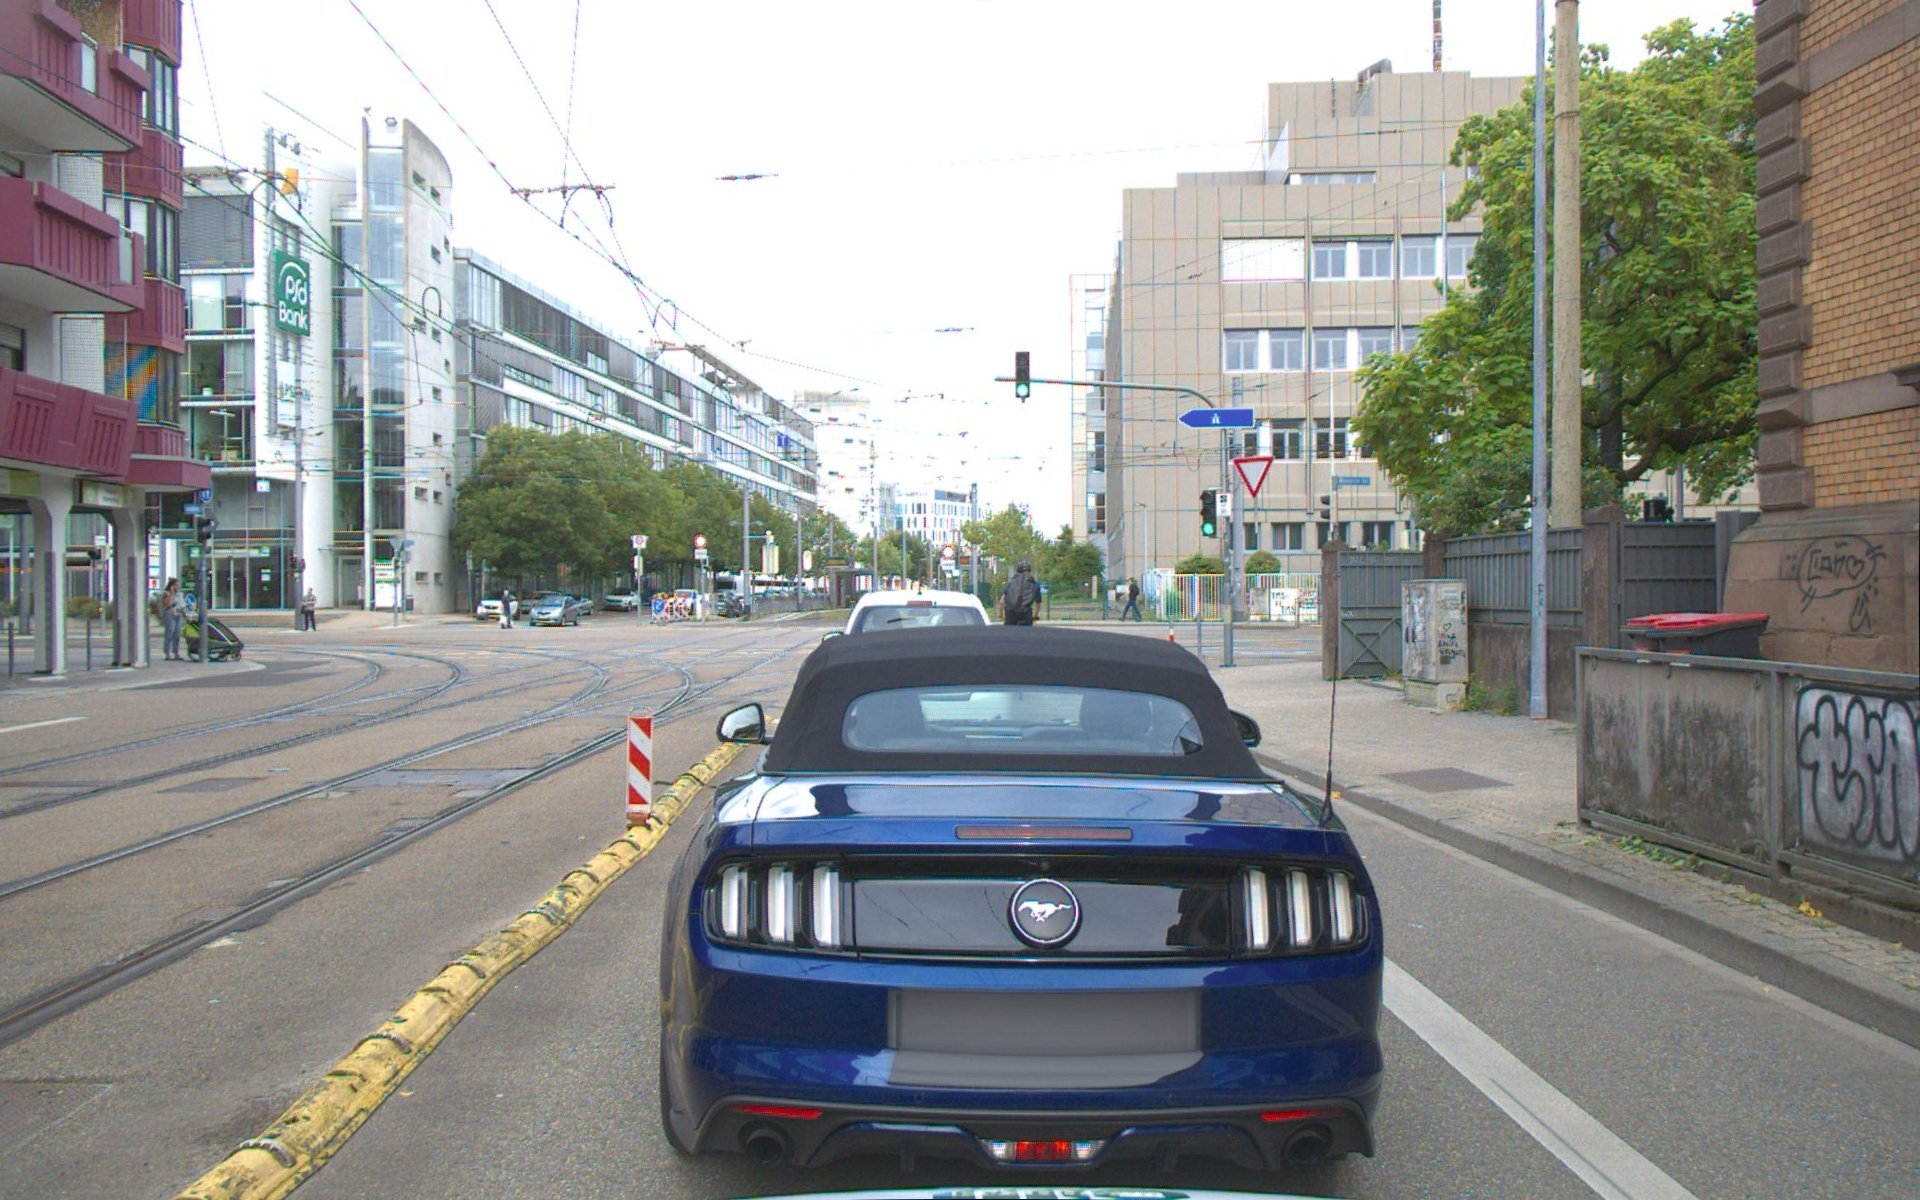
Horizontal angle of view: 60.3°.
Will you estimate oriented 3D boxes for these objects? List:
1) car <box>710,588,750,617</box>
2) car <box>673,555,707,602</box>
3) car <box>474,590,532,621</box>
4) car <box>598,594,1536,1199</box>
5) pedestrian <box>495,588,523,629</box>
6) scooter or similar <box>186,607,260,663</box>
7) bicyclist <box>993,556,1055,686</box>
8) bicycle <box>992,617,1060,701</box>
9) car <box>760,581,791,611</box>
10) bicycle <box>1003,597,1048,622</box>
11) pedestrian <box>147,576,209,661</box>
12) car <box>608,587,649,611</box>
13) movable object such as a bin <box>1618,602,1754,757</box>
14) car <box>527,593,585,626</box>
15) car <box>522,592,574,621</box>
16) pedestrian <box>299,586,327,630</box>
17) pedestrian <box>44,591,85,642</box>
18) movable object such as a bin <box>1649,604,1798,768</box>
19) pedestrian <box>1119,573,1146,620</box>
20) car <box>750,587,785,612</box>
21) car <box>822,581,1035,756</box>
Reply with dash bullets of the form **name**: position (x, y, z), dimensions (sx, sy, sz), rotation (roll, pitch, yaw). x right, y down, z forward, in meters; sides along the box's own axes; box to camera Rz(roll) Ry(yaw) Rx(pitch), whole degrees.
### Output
- **car**: position (-13.467, 0.139, 97.049), dimensions (1.841, 1.657, 4.086), rotation (-1, 0, -1)
- **car**: position (-22.025, -1.722, 135.031), dimensions (1.945, 3.700, 4.513), rotation (1, 0, 0)
- **car**: position (-24.981, 0.290, 90.500), dimensions (1.791, 1.584, 4.218), rotation (1, 1, 3)
- **car**: position (0.195, 0.719, 5.406), dimensions (1.838, 1.428, 4.282), rotation (1, 0, -1)
- **pedestrian**: position (-20.908, 0.390, 76.611), dimensions (0.968, 1.888, 0.902), rotation (-1, 0, 6)
- **scooter or similar**: position (-15.568, 0.728, 34.963), dimensions (1.172, 1.148, 0.946), rotation (0, 0, -3)
- **bicyclist**: position (0.915, 0.293, 23.934), dimensions (0.780, 1.816, 1.232), rotation (-1, 0, -3)
- **bicycle**: position (0.923, 0.820, 23.709), dimensions (0.784, 1.105, 2.130), rotation (-1, 0, -3)
- **car**: position (-12.909, -0.273, 115.760), dimensions (1.749, 2.022, 4.120), rotation (-1, 0, -1)
- **bicycle**: position (2.883, 0.423, 72.765), dimensions (0.629, 0.998, 2.125), rotation (-1, -2, -42)
- **pedestrian**: position (-16.477, 0.384, 34.873), dimensions (0.929, 1.774, 0.811), rotation (0, 0, -4)
- **car**: position (-23.229, -0.060, 115.996), dimensions (1.945, 1.584, 4.513), rotation (1, 1, 0)
- **movable object such as a bin**: position (5.541, 0.592, 12.652), dimensions (0.638, 1.101, 0.677), rotation (-4, 0, -6)
- **car**: position (-20.187, 0.460, 82.792), dimensions (1.633, 1.533, 4.236), rotation (1, 1, 3)
- **car**: position (-24.319, 0.363, 97.784), dimensions (1.791, 1.584, 4.218), rotation (1, 1, 3)
- **pedestrian**: position (-28.094, 0.350, 71.783), dimensions (0.816, 1.897, 0.766), rotation (-1, 0, 11)
- **pedestrian**: position (-30.743, 0.565, 56.790), dimensions (0.915, 1.700, 0.766), rotation (-1, 0, 11)
- **movable object such as a bin**: position (5.494, 0.602, 11.935), dimensions (0.650, 1.101, 0.700), rotation (-4, 0, -6)
- **pedestrian**: position (7.274, -0.157, 69.763), dimensions (1.063, 1.931, 0.902), rotation (-1, 0, 5)
- **car**: position (-12.849, -0.052, 110.593), dimensions (1.830, 1.634, 4.212), rotation (-1, 0, -1)
- **car**: position (-0.435, 0.565, 16.173), dimensions (1.799, 1.464, 4.183), rotation (-1, 0, -5)
